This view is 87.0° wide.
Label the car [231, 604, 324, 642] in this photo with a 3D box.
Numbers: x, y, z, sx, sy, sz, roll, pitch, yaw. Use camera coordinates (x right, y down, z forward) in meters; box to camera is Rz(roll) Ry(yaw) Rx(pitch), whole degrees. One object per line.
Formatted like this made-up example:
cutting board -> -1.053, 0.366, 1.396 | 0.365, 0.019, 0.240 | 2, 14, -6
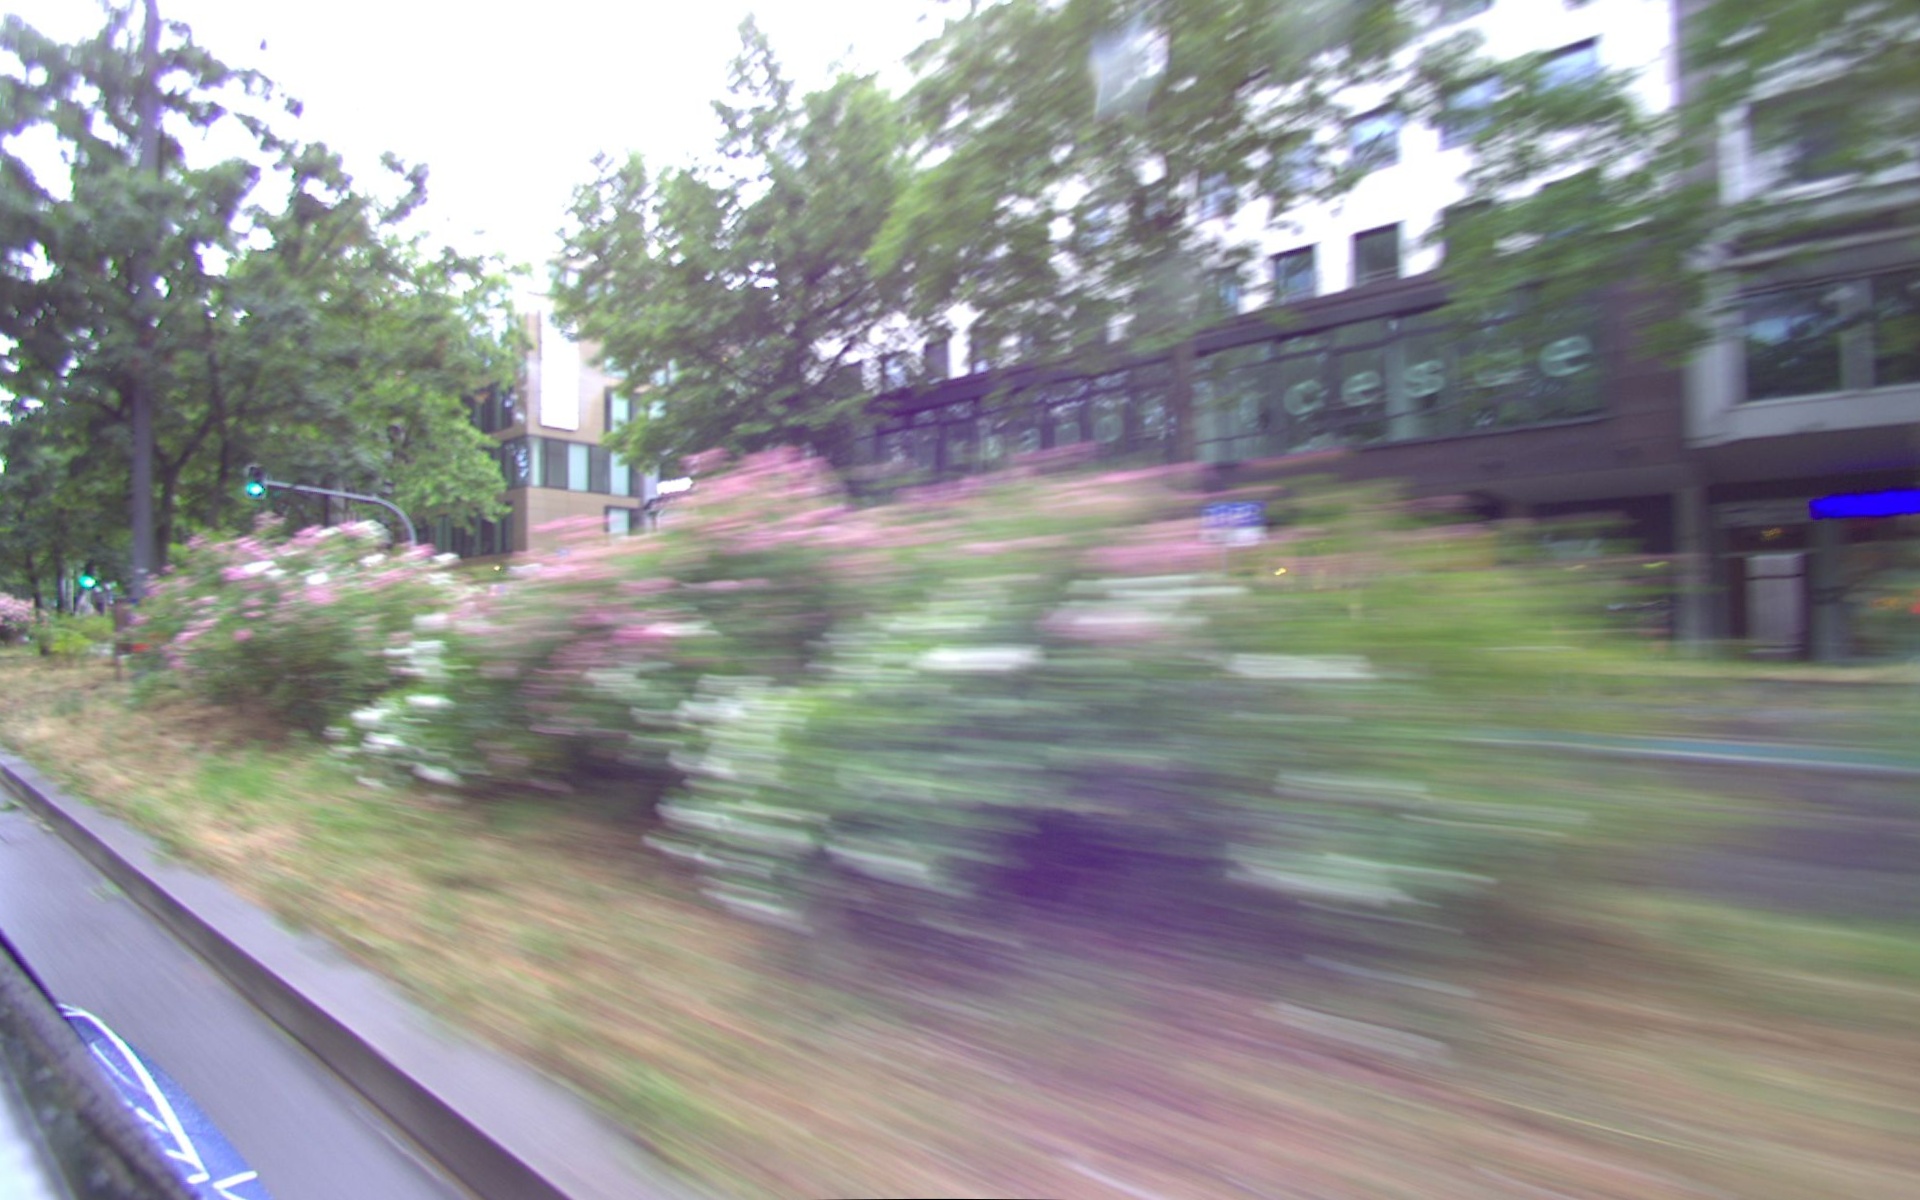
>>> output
car -> -38.203, 1.251, 56.710 | 1.885, 2.029, 3.948 | -1, -1, 38
